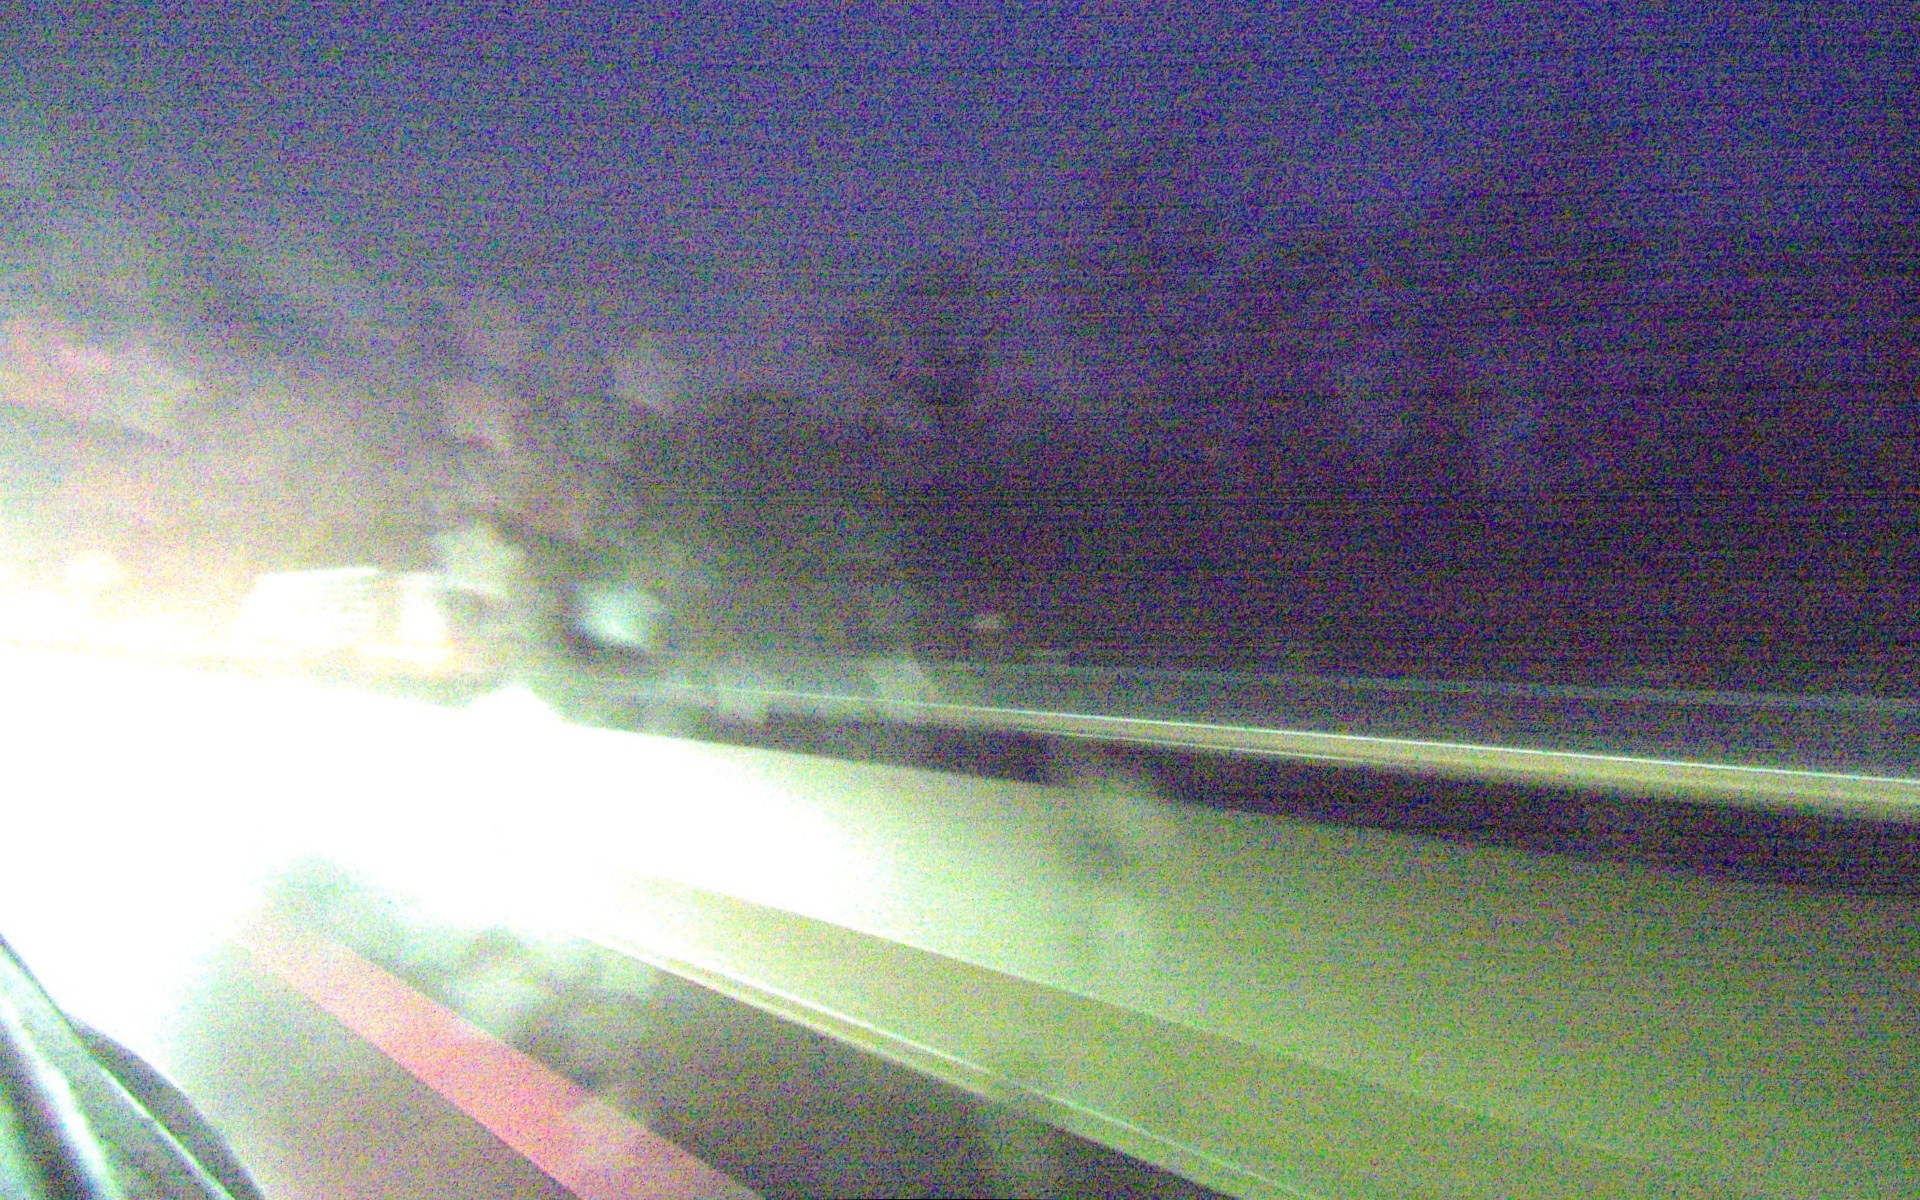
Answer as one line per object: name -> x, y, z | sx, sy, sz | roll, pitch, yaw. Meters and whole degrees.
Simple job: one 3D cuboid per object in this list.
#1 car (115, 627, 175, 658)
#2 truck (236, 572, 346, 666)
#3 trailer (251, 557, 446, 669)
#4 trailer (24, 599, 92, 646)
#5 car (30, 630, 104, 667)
car -> -43.514, 2.245, 54.016 | 4.345, 1.610, 1.661 | -1, -3, 40
truck -> -33.313, 0.986, 50.308 | 6.742, 4.368, 2.856 | -2, -1, 41
trailer -> -27.962, 0.751, 45.599 | 15.709, 4.337, 2.856 | -2, -1, 41
trailer -> -88.404, 2.234, 99.024 | 14.400, 4.326, 3.016 | -1, -3, 41
car -> -37.217, 1.988, 42.156 | 4.283, 1.458, 1.661 | -1, -3, 40
